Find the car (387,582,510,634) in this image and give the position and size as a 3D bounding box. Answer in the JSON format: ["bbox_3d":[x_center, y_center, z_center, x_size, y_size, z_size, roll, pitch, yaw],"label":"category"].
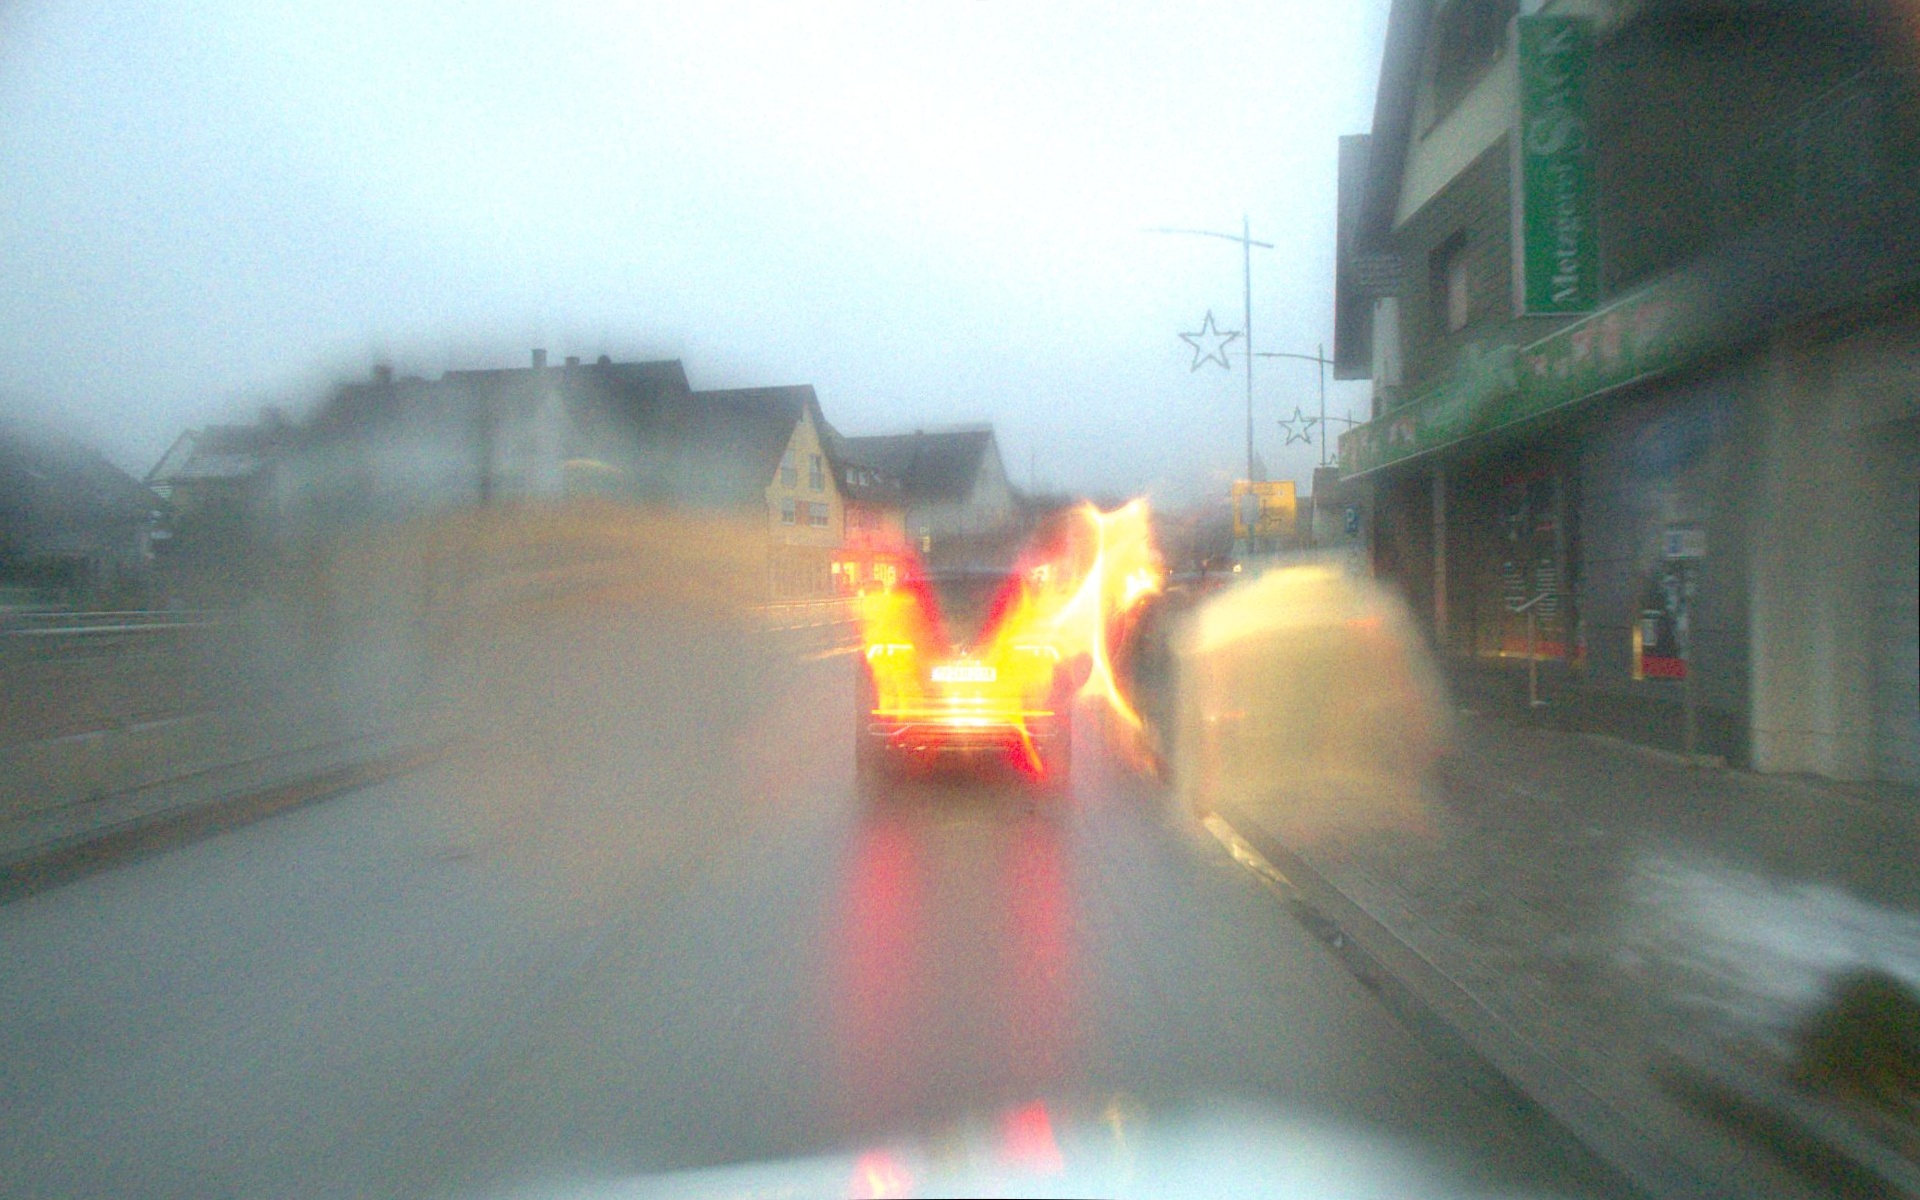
[{"bbox_3d":[-18.980,0.285,61.448,3.902,1.723,1.866,-2,1,8],"label":"car"}]

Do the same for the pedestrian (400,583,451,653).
[{"bbox_3d":[-14.117,0.473,43.687,0.908,1.815,0.974,0,1,12],"label":"pedestrian"}]

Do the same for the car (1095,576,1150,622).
[{"bbox_3d":[5.471,-0.076,55.822,1.776,1.436,4.003,0,2,5],"label":"car"}]

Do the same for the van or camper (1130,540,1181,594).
[{"bbox_3d":[10.452,-1.738,87.927,2.192,2.715,6.562,-1,1,11],"label":"van or camper"}]

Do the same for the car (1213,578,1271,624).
[{"bbox_3d":[13.776,0.028,80.612,2.112,2.025,4.502,-4,0,16],"label":"car"}]

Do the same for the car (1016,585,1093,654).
[{"bbox_3d":[2.220,0.420,38.596,1.647,1.478,4.002,1,0,4],"label":"car"}]

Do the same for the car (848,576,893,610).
[{"bbox_3d":[-4.615,-0.390,84.688,1.789,1.641,4.046,-1,1,-11],"label":"car"}]

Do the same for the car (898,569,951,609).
[{"bbox_3d":[-1.824,-0.573,84.084,2.001,1.959,4.046,-1,1,-11],"label":"car"}]

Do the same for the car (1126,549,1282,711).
[{"bbox_3d":[3.090,0.328,21.574,1.732,1.813,4.003,-4,0,6],"label":"car"}]

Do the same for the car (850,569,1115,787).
[{"bbox_3d":[0.038,0.554,14.838,1.926,1.622,4.309,0,1,-5],"label":"car"}]

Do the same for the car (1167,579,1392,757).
[{"bbox_3d":[2.950,0.577,15.762,1.611,1.440,2.728,-3,1,2],"label":"car"}]

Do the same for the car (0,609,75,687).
[{"bbox_3d":[-19.689,1.020,32.469,1.834,1.458,4.505,-3,1,5],"label":"car"}]

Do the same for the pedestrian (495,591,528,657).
[{"bbox_3d":[-11.726,0.623,43.284,0.649,1.727,0.542,0,1,12],"label":"pedestrian"}]
